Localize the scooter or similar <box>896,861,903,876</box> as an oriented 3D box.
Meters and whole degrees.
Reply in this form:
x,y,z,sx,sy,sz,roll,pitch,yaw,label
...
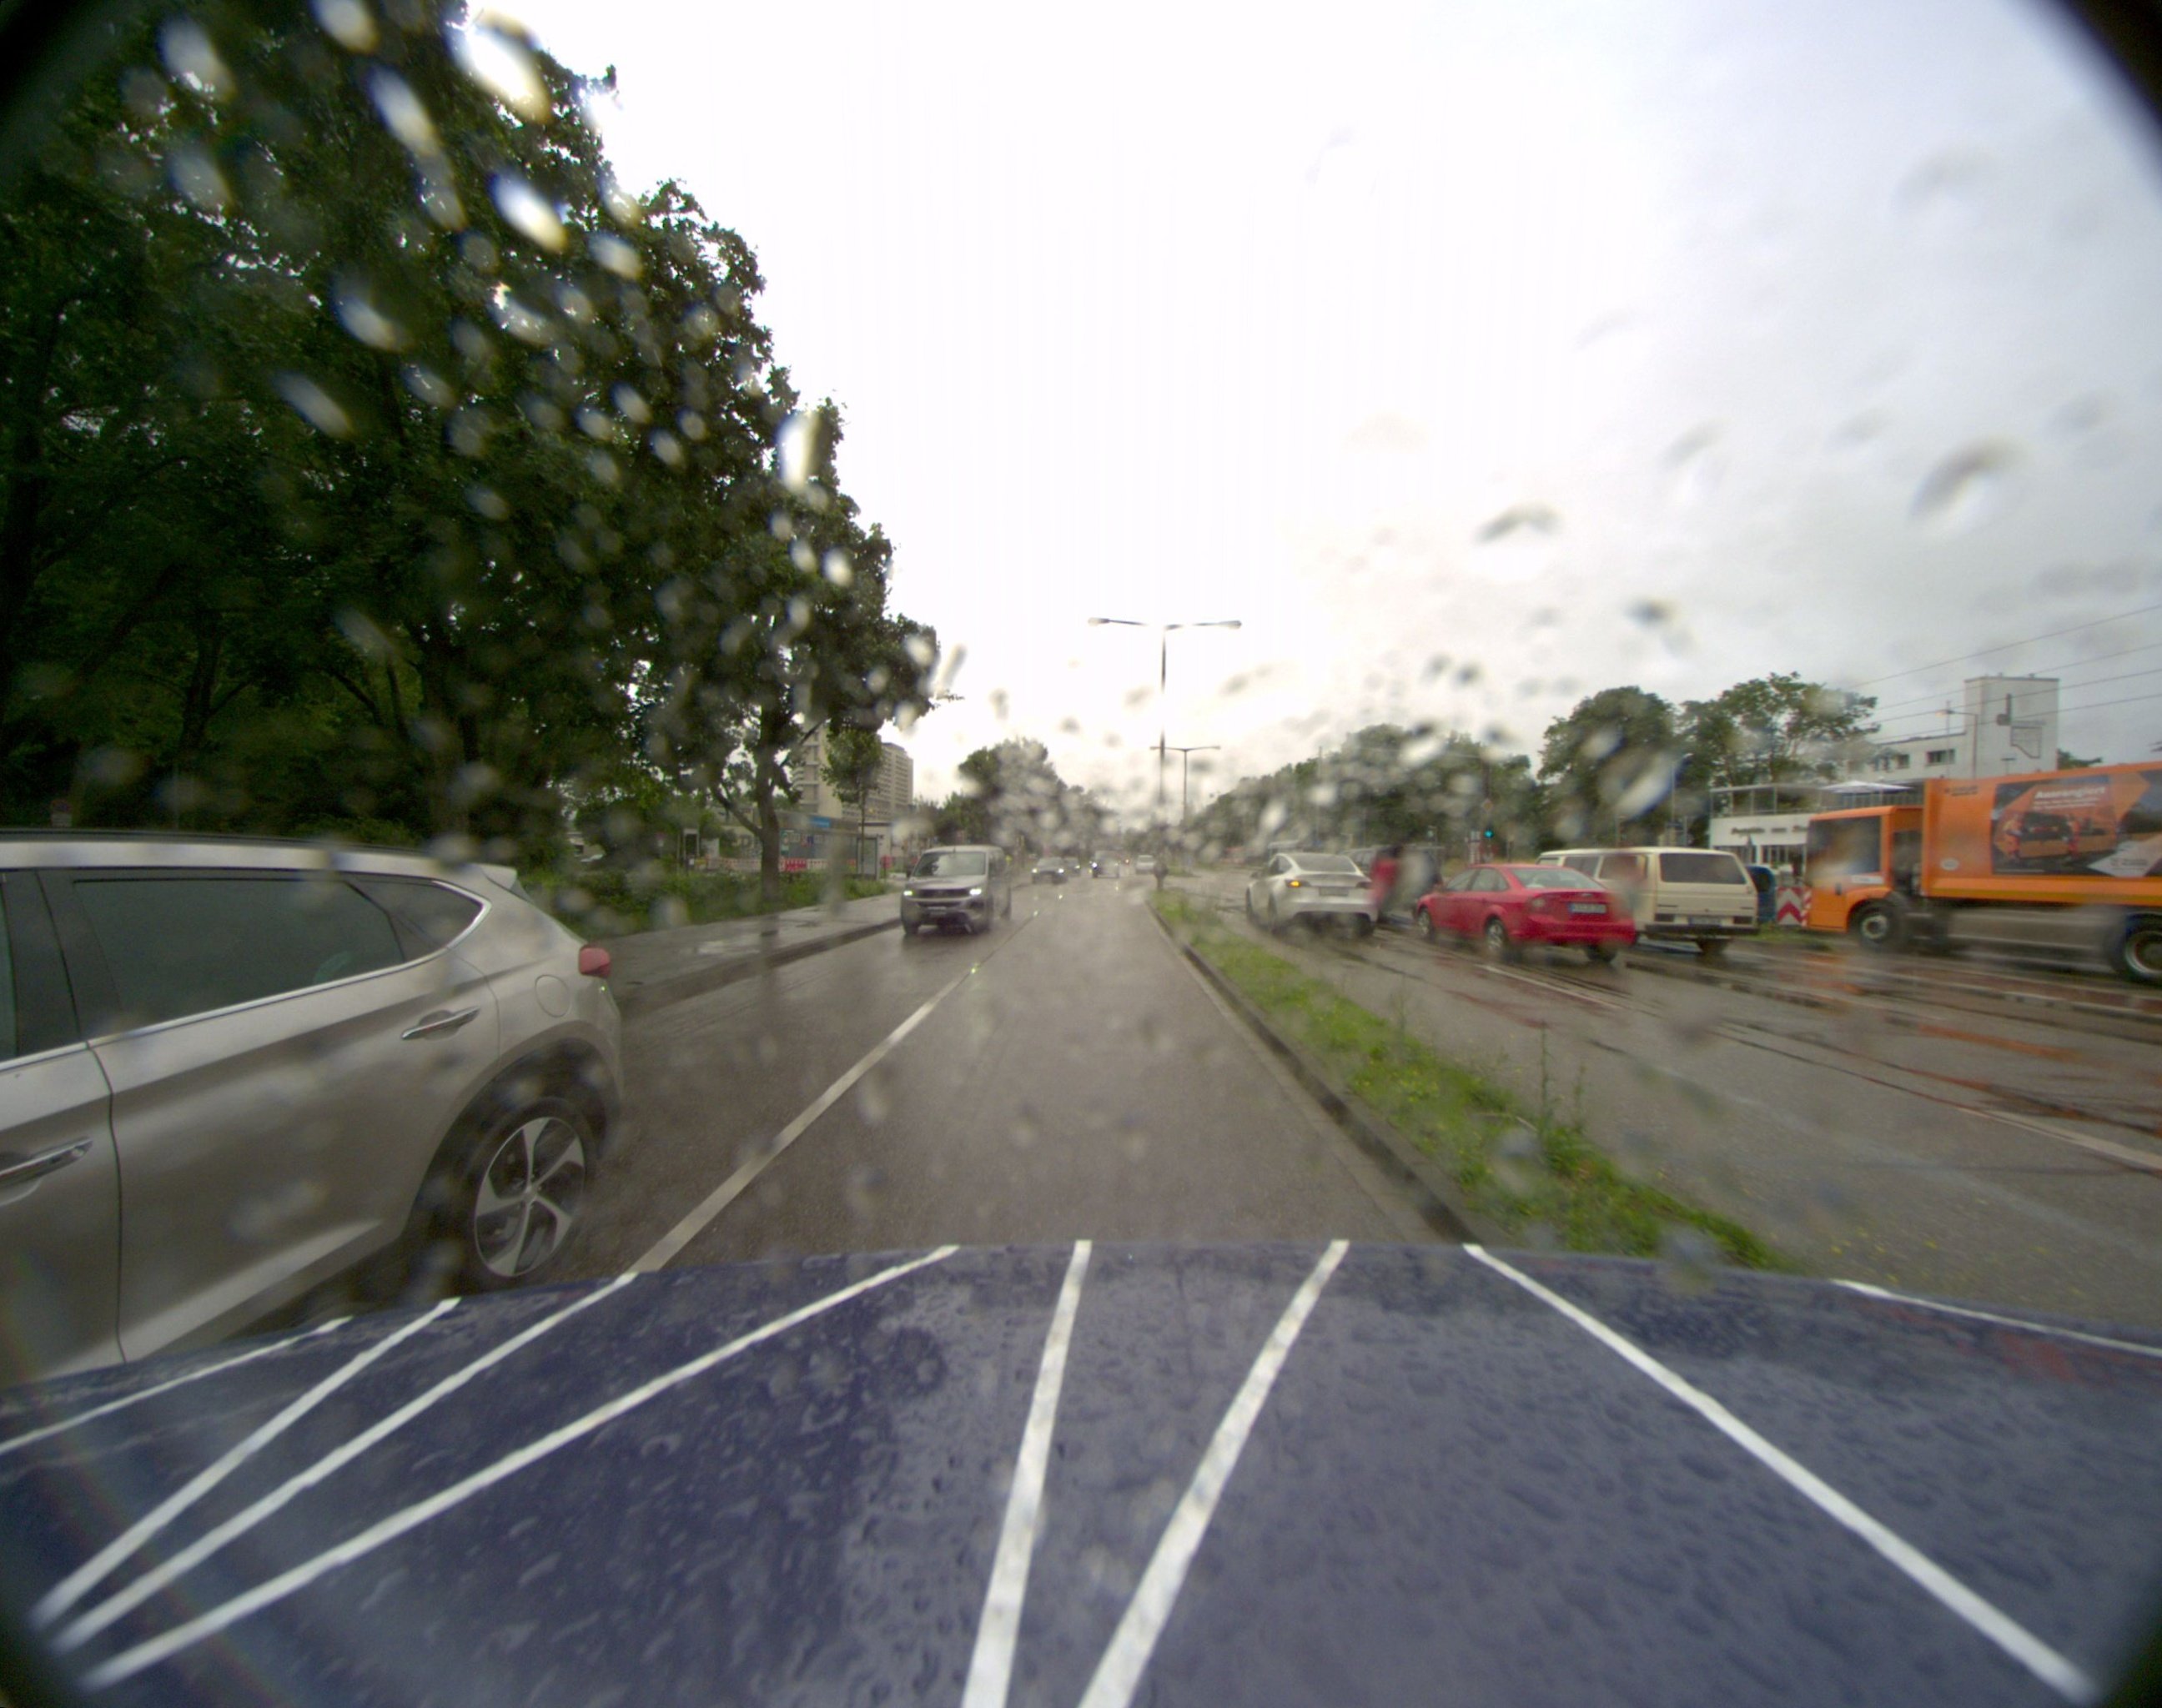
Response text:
x,y,z,sx,sy,sz,roll,pitch,yaw,label
-13.865,1.110,58.083,0.286,1.169,0.560,1,0,9,scooter or similar

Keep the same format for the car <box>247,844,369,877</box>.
x,y,z,sx,sy,sz,roll,pitch,yaw,label
-41.079,0.317,40.442,4.596,1.621,1.926,-1,1,3,car

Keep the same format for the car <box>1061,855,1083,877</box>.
x,y,z,sx,sy,sz,roll,pitch,yaw,label
-0.725,0.948,62.931,1.651,1.652,3.777,-1,1,1,car

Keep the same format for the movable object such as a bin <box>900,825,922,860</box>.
x,y,z,sx,sy,sz,roll,pitch,yaw,label
-21.857,-1.481,97.831,1.557,4.400,3.910,-1,1,5,movable object such as a bin

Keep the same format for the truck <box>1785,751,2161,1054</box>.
x,y,z,sx,sy,sz,roll,pitch,yaw,label
16.492,0.627,10.958,3.393,4.143,10.407,-1,1,3,truck

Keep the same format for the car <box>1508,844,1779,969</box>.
x,y,z,sx,sy,sz,roll,pitch,yaw,label
10.681,0.877,15.008,1.933,2.006,4.744,2,0,3,car

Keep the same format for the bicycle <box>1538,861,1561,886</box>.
x,y,z,sx,sy,sz,roll,pitch,yaw,label
32.990,1.342,53.533,0.641,1.750,1.735,1,0,4,bicycle

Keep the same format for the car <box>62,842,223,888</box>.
x,y,z,sx,sy,sz,roll,pitch,yaw,label
-33.478,0.389,27.159,3.994,1.516,1.884,-1,1,10,car

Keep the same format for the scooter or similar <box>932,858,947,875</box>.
x,y,z,sx,sy,sz,roll,pitch,yaw,label
-10.723,0.928,57.639,0.959,1.222,0.322,3,1,8,scooter or similar

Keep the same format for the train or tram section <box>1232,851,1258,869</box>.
x,y,z,sx,sy,sz,roll,pitch,yaw,label
30.775,1.107,143.005,3.541,3.370,9.280,1,0,4,train or tram section

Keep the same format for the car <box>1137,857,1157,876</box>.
x,y,z,sx,sy,sz,roll,pitch,yaw,label
5.783,1.085,66.873,1.740,1.535,4.014,-1,0,4,car

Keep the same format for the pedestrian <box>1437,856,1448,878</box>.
x,y,z,sx,sy,sz,roll,pitch,yaw,label
30.239,1.104,63.563,0.631,1.782,0.681,-1,1,2,pedestrian

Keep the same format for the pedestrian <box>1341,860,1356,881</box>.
x,y,z,sx,sy,sz,roll,pitch,yaw,label
21.326,1.280,60.615,0.783,1.648,0.803,-2,1,-14,pedestrian

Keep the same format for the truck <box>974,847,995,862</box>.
x,y,z,sx,sy,sz,roll,pitch,yaw,label
-20.466,0.049,161.239,2.810,2.882,8.751,-1,1,3,truck

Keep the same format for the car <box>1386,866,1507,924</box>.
x,y,z,sx,sy,sz,roll,pitch,yaw,label
10.687,1.140,22.575,1.645,1.419,4.000,2,1,1,car

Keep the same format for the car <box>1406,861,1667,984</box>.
x,y,z,sx,sy,sz,roll,pitch,yaw,label
7.300,0.978,12.826,1.805,1.560,4.429,2,1,2,car

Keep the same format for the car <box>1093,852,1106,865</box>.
x,y,z,sx,sy,sz,roll,pitch,yaw,label
2.548,0.562,104.298,1.726,1.642,4.000,-1,1,3,car

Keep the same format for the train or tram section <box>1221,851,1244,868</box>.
x,y,z,sx,sy,sz,roll,pitch,yaw,label
31.986,1.107,160.789,3.541,3.381,10.263,1,0,4,train or tram section

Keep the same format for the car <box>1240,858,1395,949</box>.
x,y,z,sx,sy,sz,roll,pitch,yaw,label
4.726,0.898,15.978,1.965,1.607,4.698,1,0,2,car

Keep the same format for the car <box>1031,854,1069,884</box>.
x,y,z,sx,sy,sz,roll,pitch,yaw,label
-1.750,0.849,44.055,1.858,1.583,4.000,-1,1,2,car

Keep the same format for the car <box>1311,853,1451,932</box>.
x,y,z,sx,sy,sz,roll,pitch,yaw,label
7.688,0.893,20.083,1.810,1.763,5.090,2,0,2,car

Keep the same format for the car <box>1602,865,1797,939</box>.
x,y,z,sx,sy,sz,roll,pitch,yaw,label
17.085,1.239,21.343,1.998,1.699,4.527,-1,1,4,car

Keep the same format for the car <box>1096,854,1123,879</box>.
x,y,z,sx,sy,sz,roll,pitch,yaw,label
2.060,0.895,54.807,1.812,1.683,3.777,-1,1,3,car

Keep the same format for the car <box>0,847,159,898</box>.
x,y,z,sx,sy,sz,roll,pitch,yaw,label
-32.638,0.577,23.713,5.410,1.441,2.168,-1,1,5,car

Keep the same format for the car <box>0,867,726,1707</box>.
x,y,z,sx,sy,sz,roll,pitch,yaw,label
-2.905,0.907,1.957,1.889,1.601,4.195,0,1,2,car

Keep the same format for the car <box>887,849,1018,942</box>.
x,y,z,sx,sy,sz,roll,pitch,yaw,label
-2.696,0.803,17.086,1.998,1.785,4.562,-1,0,2,car

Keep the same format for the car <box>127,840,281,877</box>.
x,y,z,sx,sy,sz,roll,pitch,yaw,label
-41.015,0.197,35.636,4.600,1.574,1.925,-1,1,-5,car
